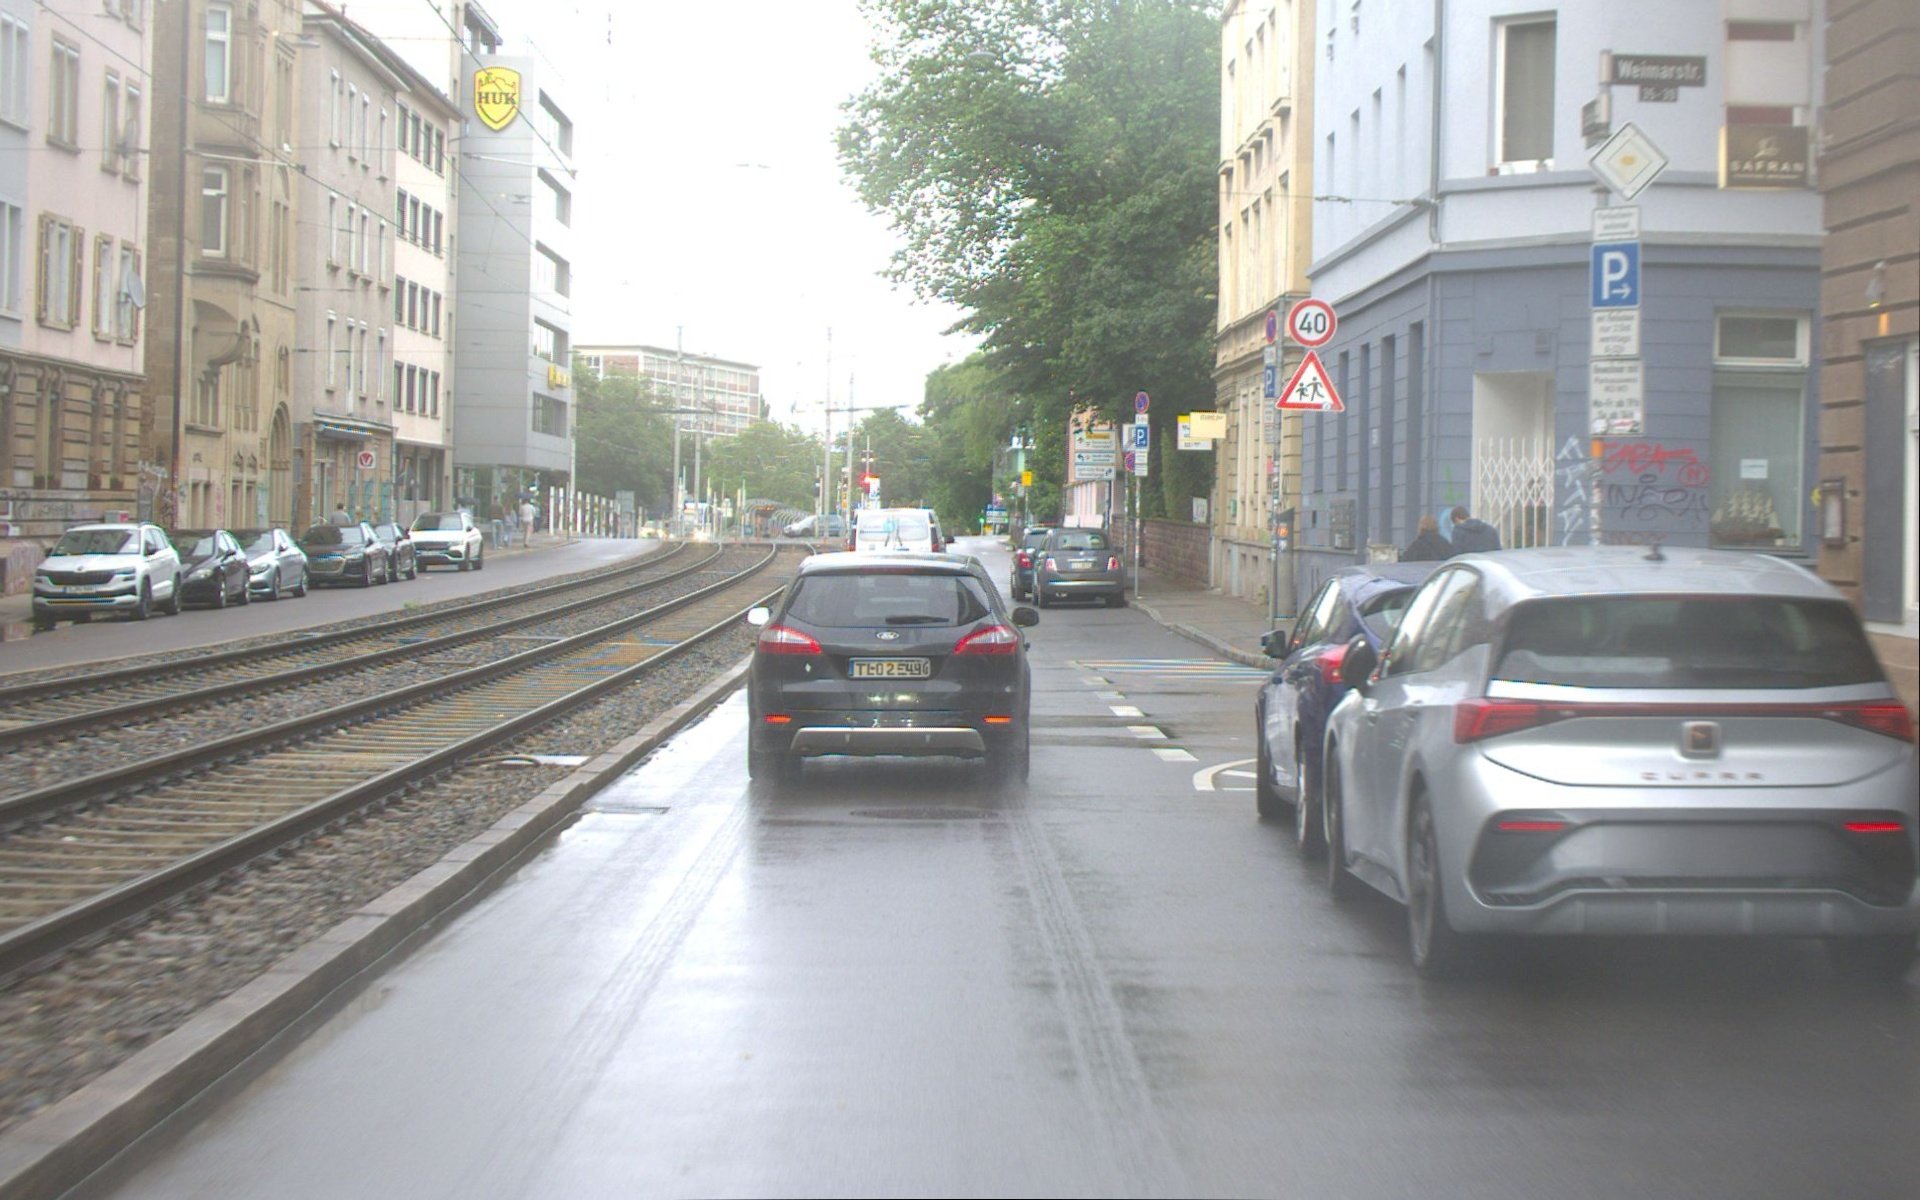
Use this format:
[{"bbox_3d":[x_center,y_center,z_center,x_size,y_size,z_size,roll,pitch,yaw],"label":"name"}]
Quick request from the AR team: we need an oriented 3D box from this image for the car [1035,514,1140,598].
[{"bbox_3d":[2.401,-0.855,65.398,1.738,1.484,4.001,1,2,-1],"label":"car"}]

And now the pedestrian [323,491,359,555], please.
[{"bbox_3d":[-17.067,-2.122,94.815,0.801,1.744,0.984,1,1,-1],"label":"pedestrian"}]

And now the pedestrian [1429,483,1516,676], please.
[{"bbox_3d":[5.425,-0.226,36.454,0.736,2.006,0.821,1,2,-1],"label":"pedestrian"}]

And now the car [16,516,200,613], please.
[{"bbox_3d":[-14.226,-0.623,57.636,1.993,1.514,4.435,1,1,-1],"label":"car"}]

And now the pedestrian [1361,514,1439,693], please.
[{"bbox_3d":[4.652,0.027,36.361,0.662,1.845,0.821,1,2,-1],"label":"pedestrian"}]

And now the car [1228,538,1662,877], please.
[{"bbox_3d":[2.457,0.471,18.388,1.720,1.510,4.259,1,2,0],"label":"car"}]

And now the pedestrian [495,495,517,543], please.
[{"bbox_3d":[-17.508,-3.125,132.570,0.744,1.847,0.839,0,0,-1],"label":"pedestrian"}]

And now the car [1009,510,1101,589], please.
[{"bbox_3d":[1.910,-1.051,70.021,1.642,1.510,4.039,1,2,-1],"label":"car"}]

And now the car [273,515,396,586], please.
[{"bbox_3d":[-14.330,-1.153,78.991,1.993,1.514,4.676,1,1,-1],"label":"car"}]

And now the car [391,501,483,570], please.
[{"bbox_3d":[-14.688,-1.823,96.801,1.993,1.833,5.072,1,1,-2],"label":"car"}]

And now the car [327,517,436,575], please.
[{"bbox_3d":[-14.398,-1.356,85.778,1.993,1.371,4.238,1,1,0],"label":"car"}]

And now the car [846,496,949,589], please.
[{"bbox_3d":[-1.226,-1.153,69.554,1.993,1.810,4.271,0,0,0],"label":"car"}]

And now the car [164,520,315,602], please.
[{"bbox_3d":[-14.315,-0.803,68.573,1.993,1.514,4.992,1,1,-1],"label":"car"}]

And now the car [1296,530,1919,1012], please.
[{"bbox_3d":[2.459,0.525,13.554,1.746,1.518,4.355,1,2,-1],"label":"car"}]

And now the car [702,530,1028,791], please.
[{"bbox_3d":[-0.586,0.357,23.255,1.993,1.588,4.271,0,0,0],"label":"car"}]

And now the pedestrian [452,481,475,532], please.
[{"bbox_3d":[-18.226,-3.443,126.273,0.744,1.847,0.839,0,0,-1],"label":"pedestrian"}]

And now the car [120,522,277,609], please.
[{"bbox_3d":[-14.109,-0.666,63.935,1.993,1.514,4.209,1,1,-1],"label":"car"}]

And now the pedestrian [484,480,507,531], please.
[{"bbox_3d":[-17.082,-3.456,126.367,0.744,1.847,0.839,0,0,-1],"label":"pedestrian"}]

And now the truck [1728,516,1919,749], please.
[{"bbox_3d":[9.045,0.235,27.998,5.058,1.812,2.084,0,2,-3],"label":"truck"}]
